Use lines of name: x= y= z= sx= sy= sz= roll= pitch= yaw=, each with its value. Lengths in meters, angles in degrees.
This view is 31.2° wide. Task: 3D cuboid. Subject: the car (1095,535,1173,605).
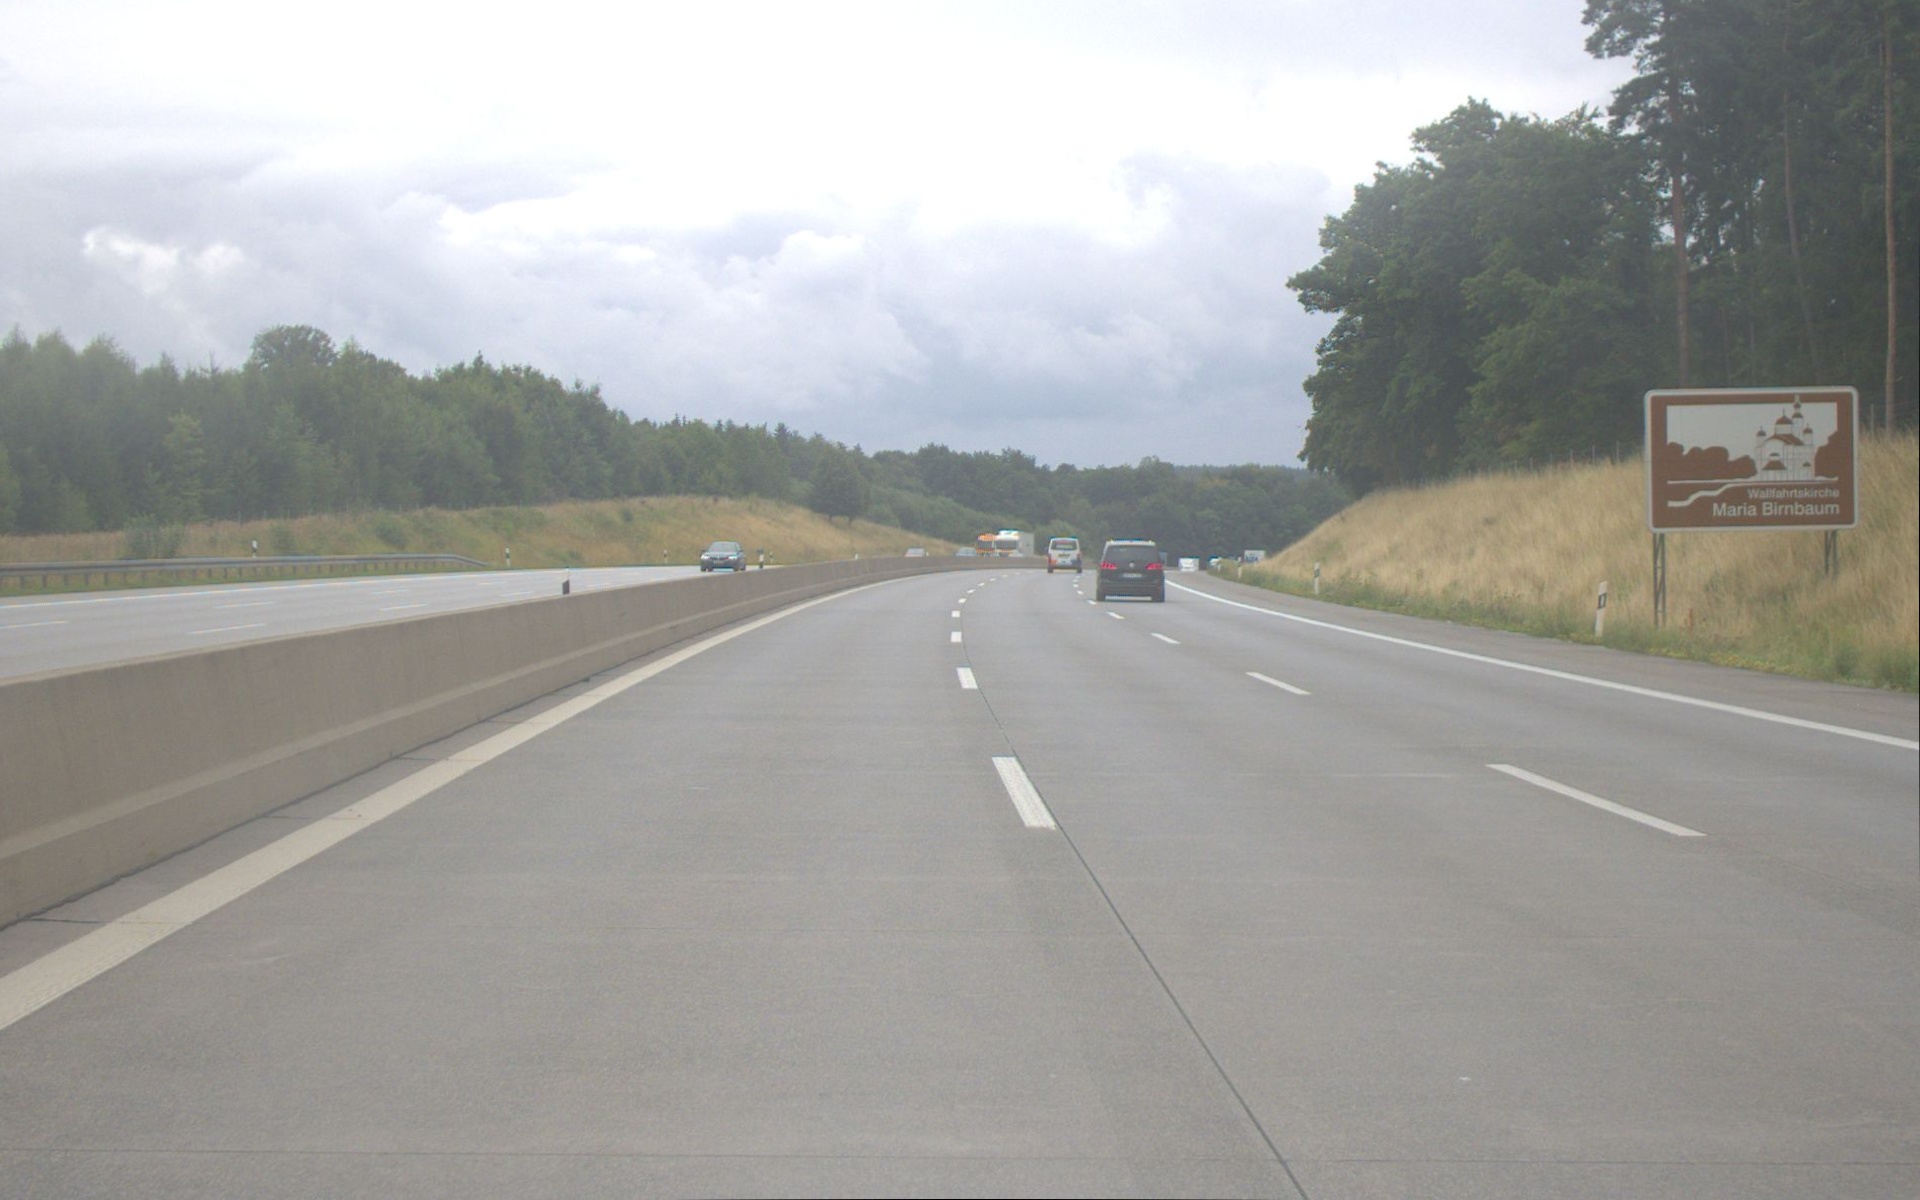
car: x=4.803 y=-0.846 z=95.403 sx=1.785 sy=1.741 sz=3.916 roll=-2 pitch=2 yaw=-2

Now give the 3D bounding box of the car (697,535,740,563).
car: x=-11.588 y=-2.457 z=165.338 sx=1.767 sy=1.228 sz=3.955 roll=2 pitch=2 yaw=0

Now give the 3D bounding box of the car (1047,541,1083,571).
car: x=5.834 y=-2.462 z=191.553 sx=1.841 sy=1.495 sz=4.001 roll=-2 pitch=2 yaw=0
